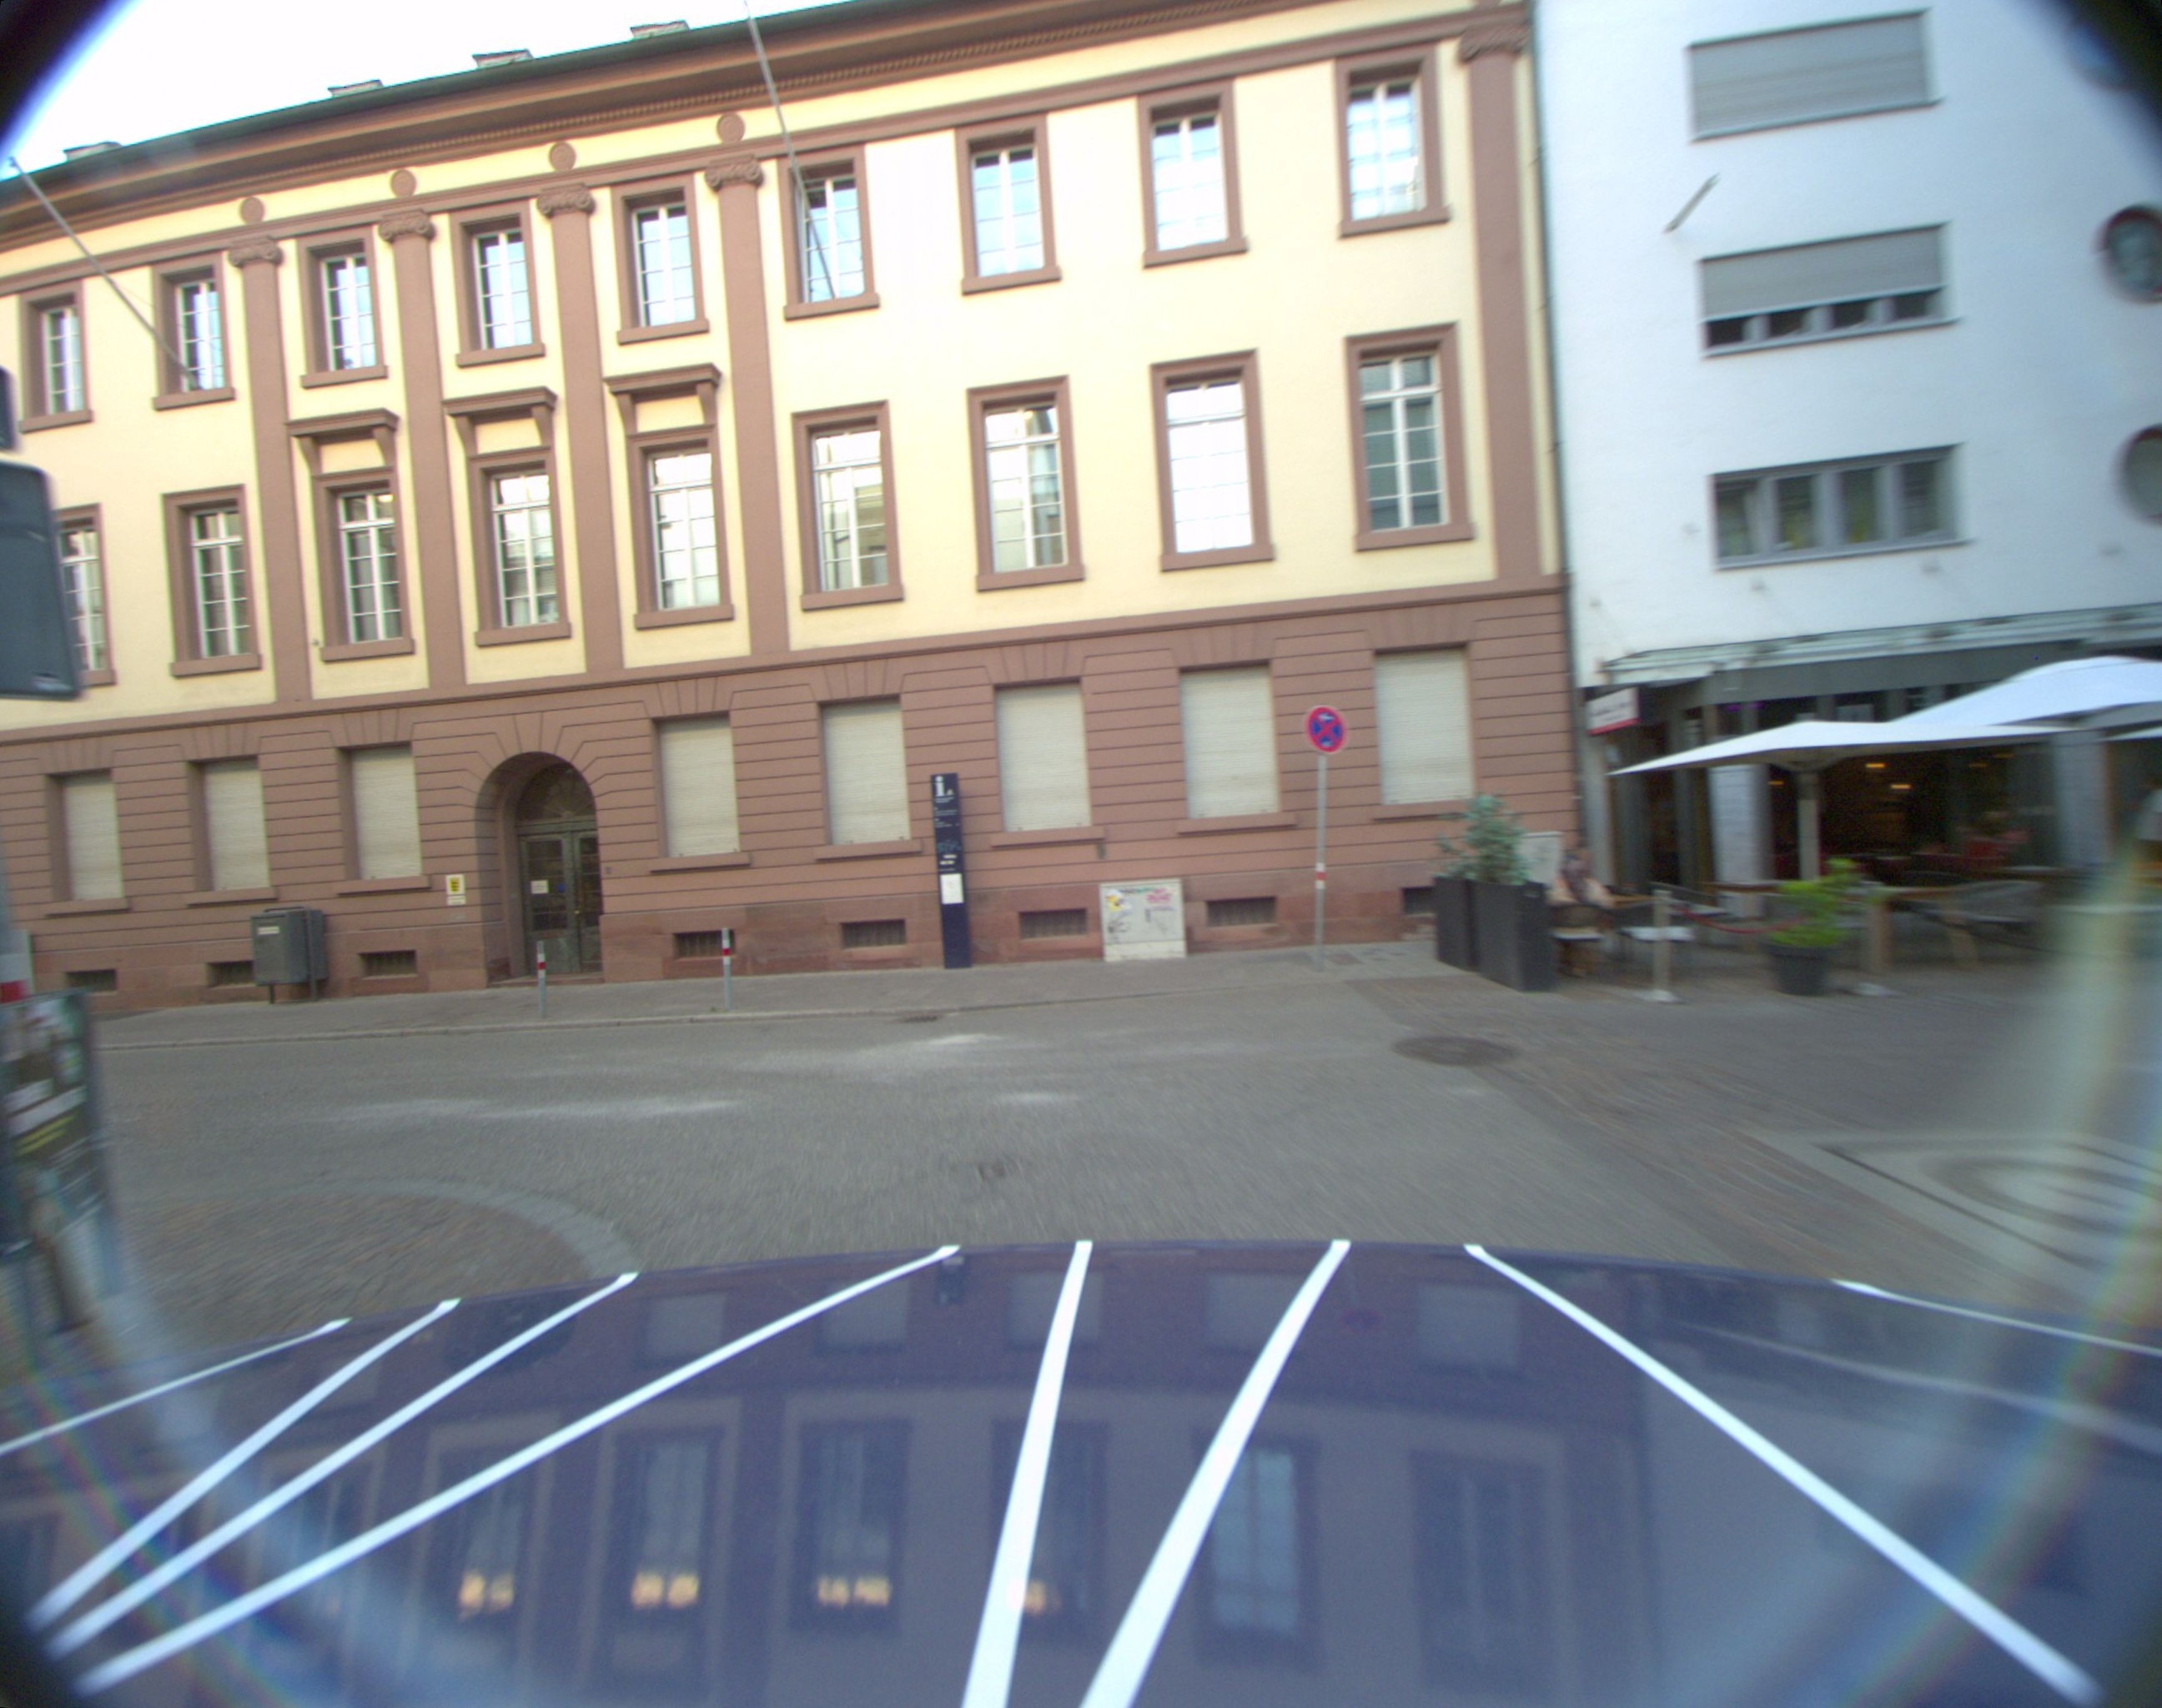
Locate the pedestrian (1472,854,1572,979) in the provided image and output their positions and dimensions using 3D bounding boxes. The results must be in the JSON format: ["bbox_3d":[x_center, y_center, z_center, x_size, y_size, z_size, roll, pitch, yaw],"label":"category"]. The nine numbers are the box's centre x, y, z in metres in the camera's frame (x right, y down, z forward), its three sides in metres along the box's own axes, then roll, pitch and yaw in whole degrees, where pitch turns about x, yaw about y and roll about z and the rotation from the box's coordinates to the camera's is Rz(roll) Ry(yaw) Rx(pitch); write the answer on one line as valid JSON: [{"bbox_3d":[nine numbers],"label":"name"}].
[{"bbox_3d":[5.063,0.695,8.761,0.673,1.323,0.792,-4,2,4],"label":"pedestrian"}]

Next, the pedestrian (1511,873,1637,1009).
[{"bbox_3d":[4.769,0.812,7.402,0.673,1.177,0.792,-4,2,1],"label":"pedestrian"}]

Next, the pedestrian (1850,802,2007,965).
[{"bbox_3d":[9.144,0.303,8.233,0.725,1.639,0.792,-4,0,1],"label":"pedestrian"}]

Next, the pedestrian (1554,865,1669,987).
[{"bbox_3d":[5.680,0.749,8.183,0.673,1.177,0.792,-4,2,4],"label":"pedestrian"}]

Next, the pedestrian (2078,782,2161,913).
[{"bbox_3d":[13.999,-0.100,9.933,0.800,1.649,0.858,-4,0,-11],"label":"pedestrian"}]
